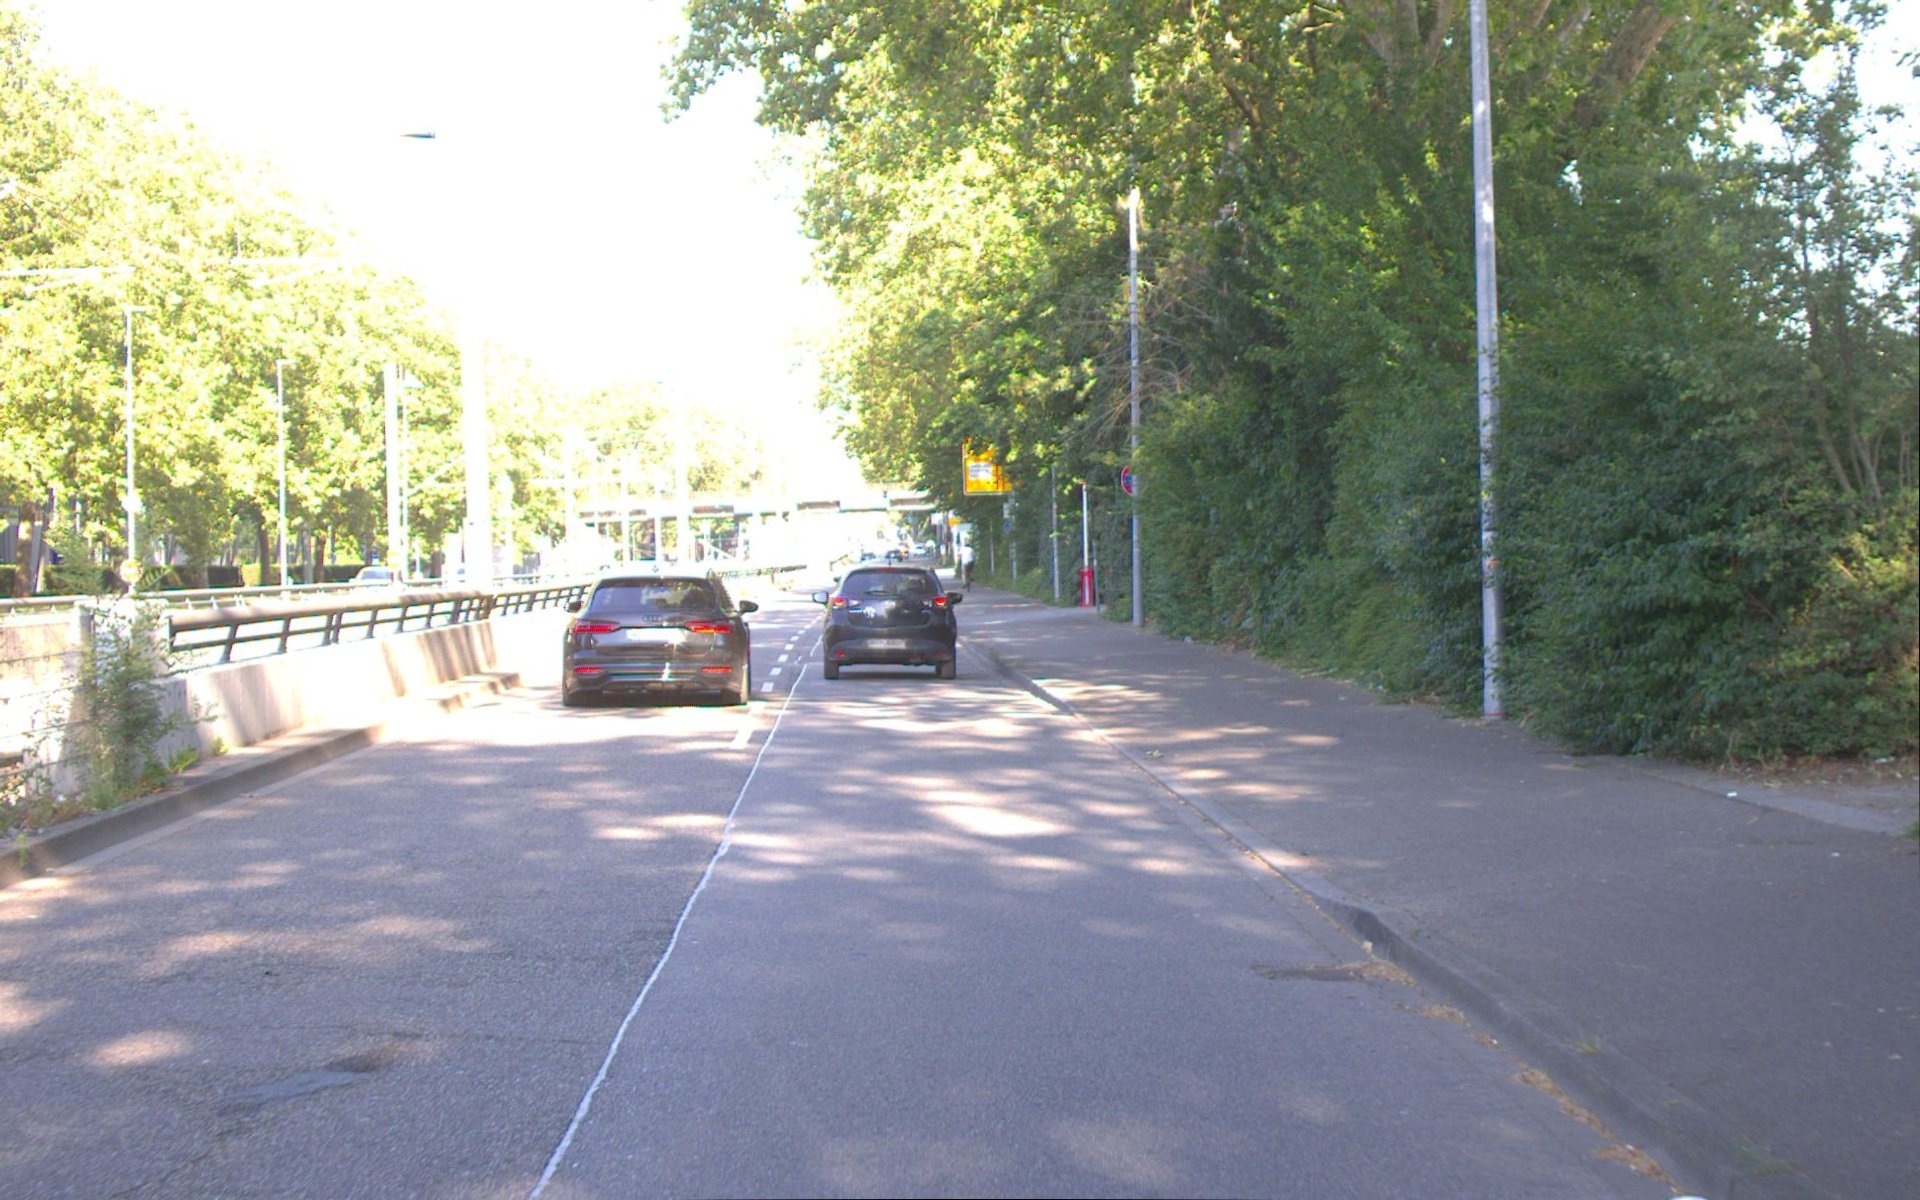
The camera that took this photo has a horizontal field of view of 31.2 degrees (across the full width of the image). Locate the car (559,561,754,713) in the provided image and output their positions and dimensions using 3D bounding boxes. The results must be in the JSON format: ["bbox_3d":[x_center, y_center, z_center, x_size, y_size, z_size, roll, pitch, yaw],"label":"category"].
[{"bbox_3d":[-3.095,0.347,35.632,1.878,1.452,3.357,-1,1,-3],"label":"car"}]

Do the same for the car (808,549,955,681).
[{"bbox_3d":[-1.058,0.162,44.648,1.762,1.614,4.001,-1,1,-3],"label":"car"}]

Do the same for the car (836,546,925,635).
[{"bbox_3d":[-1.836,-0.233,80.591,1.993,2.007,4.000,-1,1,-1],"label":"car"}]
